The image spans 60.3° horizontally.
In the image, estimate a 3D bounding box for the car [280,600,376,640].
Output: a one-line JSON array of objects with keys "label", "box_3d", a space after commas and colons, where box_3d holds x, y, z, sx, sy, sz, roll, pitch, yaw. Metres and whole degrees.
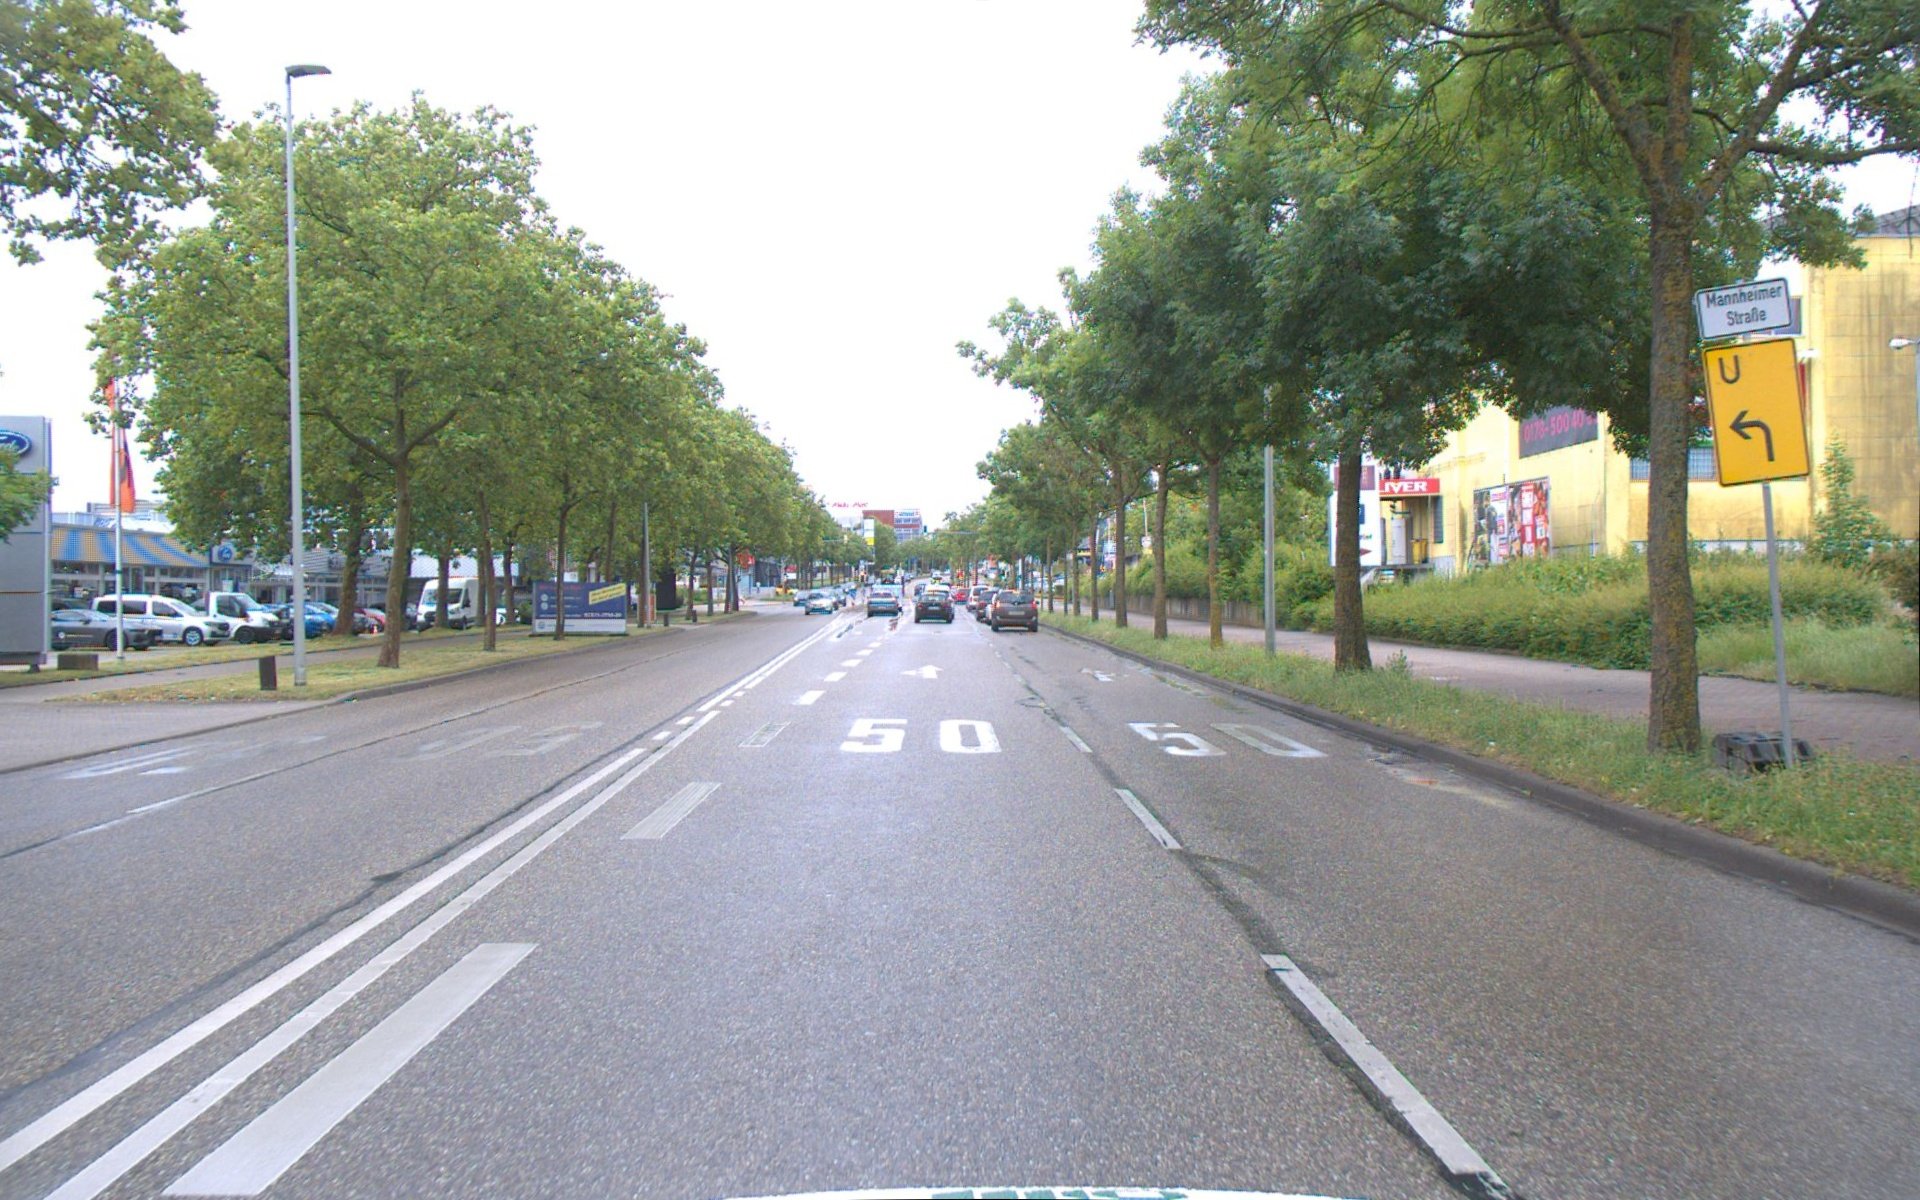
[{"label": "car", "box_3d": [-29.989, 0.931, 78.482, 3.902, 1.797, 1.866, -1, 0, 15]}]

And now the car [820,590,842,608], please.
[{"label": "car", "box_3d": [-11.334, -0.096, 145.342, 1.635, 1.487, 4.173, -2, 0, -8]}]

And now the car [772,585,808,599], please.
[{"label": "car", "box_3d": [-20.193, -0.953, 196.047, 3.916, 1.579, 1.895, -1, 1, 33]}]

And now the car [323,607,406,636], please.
[{"label": "car", "box_3d": [-31.908, 1.146, 88.644, 3.901, 1.493, 1.601, -1, 0, 11]}]

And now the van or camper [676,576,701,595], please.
[{"label": "van or camper", "box_3d": [-28.601, -1.509, 174.205, 1.953, 2.001, 4.787, 1, 0, -2]}]

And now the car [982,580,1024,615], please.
[{"label": "car", "box_3d": [2.007, -0.124, 78.137, 1.764, 1.571, 4.619, 1, 0, -1]}]

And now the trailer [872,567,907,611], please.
[{"label": "trailer", "box_3d": [-5.010, -0.776, 117.396, 2.325, 2.947, 5.543, -1, 0, -3]}]

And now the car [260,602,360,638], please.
[{"label": "car", "box_3d": [-29.818, 0.900, 75.913, 3.902, 1.547, 1.867, -1, 0, 13]}]

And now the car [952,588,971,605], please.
[{"label": "car", "box_3d": [0.090, -0.347, 149.633, 1.661, 1.468, 3.988, -1, 0, -1]}]

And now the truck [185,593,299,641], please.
[{"label": "truck", "box_3d": [-29.445, 0.683, 67.954, 3.915, 1.870, 1.995, -1, 0, -11]}]

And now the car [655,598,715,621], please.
[{"label": "car", "box_3d": [-21.208, 0.719, 127.539, 4.165, 1.623, 1.984, -3, 1, -25]}]

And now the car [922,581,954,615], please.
[{"label": "car", "box_3d": [-1.401, -0.115, 105.329, 1.953, 2.049, 3.999, 1, 0, -1]}]

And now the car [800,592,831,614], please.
[{"label": "car", "box_3d": [-9.880, 0.187, 112.688, 1.955, 1.454, 4.679, -2, 0, -6]}]

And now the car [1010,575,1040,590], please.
[{"label": "car", "box_3d": [8.882, -2.448, 225.278, 4.026, 1.938, 1.800, -1, 1, 0]}]

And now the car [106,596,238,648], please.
[{"label": "car", "box_3d": [-29.022, 0.785, 60.998, 3.908, 1.797, 1.881, -1, 0, -4]}]

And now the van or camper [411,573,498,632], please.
[{"label": "van or camper", "box_3d": [-22.507, 0.099, 73.923, 1.953, 2.513, 6.400, 0, 0, -1]}]

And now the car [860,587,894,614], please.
[{"label": "car", "box_3d": [-5.099, 0.005, 102.193, 1.868, 1.606, 4.879, -1, 0, -1]}]

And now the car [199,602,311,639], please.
[{"label": "car", "box_3d": [-30.156, 0.873, 70.816, 3.904, 1.486, 2.034, -1, 0, 2]}]

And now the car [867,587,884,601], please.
[{"label": "car", "box_3d": [-8.993, -0.647, 175.265, 1.649, 1.401, 3.996, -1, 1, -5]}]

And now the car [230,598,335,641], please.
[{"label": "car", "box_3d": [-30.016, 0.868, 73.299, 3.902, 1.797, 1.867, -1, 0, 14]}]

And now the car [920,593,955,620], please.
[{"label": "car", "box_3d": [-1.269, 0.322, 91.904, 1.649, 1.401, 3.996, -1, 1, -5]}]

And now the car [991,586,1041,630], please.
[{"label": "car", "box_3d": [2.188, 0.308, 65.635, 1.691, 1.652, 4.470, -1, 0, -1]}]

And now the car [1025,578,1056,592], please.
[{"label": "car", "box_3d": [9.503, -1.785, 195.793, 3.567, 1.562, 1.619, -2, 1, -41]}]

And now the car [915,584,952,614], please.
[{"label": "car", "box_3d": [-1.308, -0.066, 81.178, 1.746, 1.422, 3.999, 0, 0, -2]}]

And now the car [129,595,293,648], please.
[{"label": "car", "box_3d": [-29.196, 0.817, 64.630, 5.270, 1.936, 2.414, -1, 0, -5]}]

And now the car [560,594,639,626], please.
[{"label": "car", "box_3d": [-21.822, 0.591, 100.130, 4.395, 1.847, 1.985, -1, 0, -24]}]

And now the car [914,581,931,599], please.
[{"label": "car", "box_3d": [-4.480, -1.229, 197.663, 1.953, 2.049, 3.999, 1, 0, -1]}]

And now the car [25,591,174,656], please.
[{"label": "car", "box_3d": [-28.528, 0.752, 54.903, 3.908, 2.049, 1.881, -1, 0, -4]}]

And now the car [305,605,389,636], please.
[{"label": "car", "box_3d": [-31.730, 1.070, 85.653, 3.811, 1.493, 1.601, -1, 0, 11]}]

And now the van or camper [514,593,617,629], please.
[{"label": "van or camper", "box_3d": [-22.110, 0.589, 92.730, 5.220, 1.853, 2.247, -1, 0, -27]}]

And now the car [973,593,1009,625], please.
[{"label": "car", "box_3d": [1.657, 0.445, 89.308, 1.764, 1.614, 4.450, 1, 1, -1]}]
